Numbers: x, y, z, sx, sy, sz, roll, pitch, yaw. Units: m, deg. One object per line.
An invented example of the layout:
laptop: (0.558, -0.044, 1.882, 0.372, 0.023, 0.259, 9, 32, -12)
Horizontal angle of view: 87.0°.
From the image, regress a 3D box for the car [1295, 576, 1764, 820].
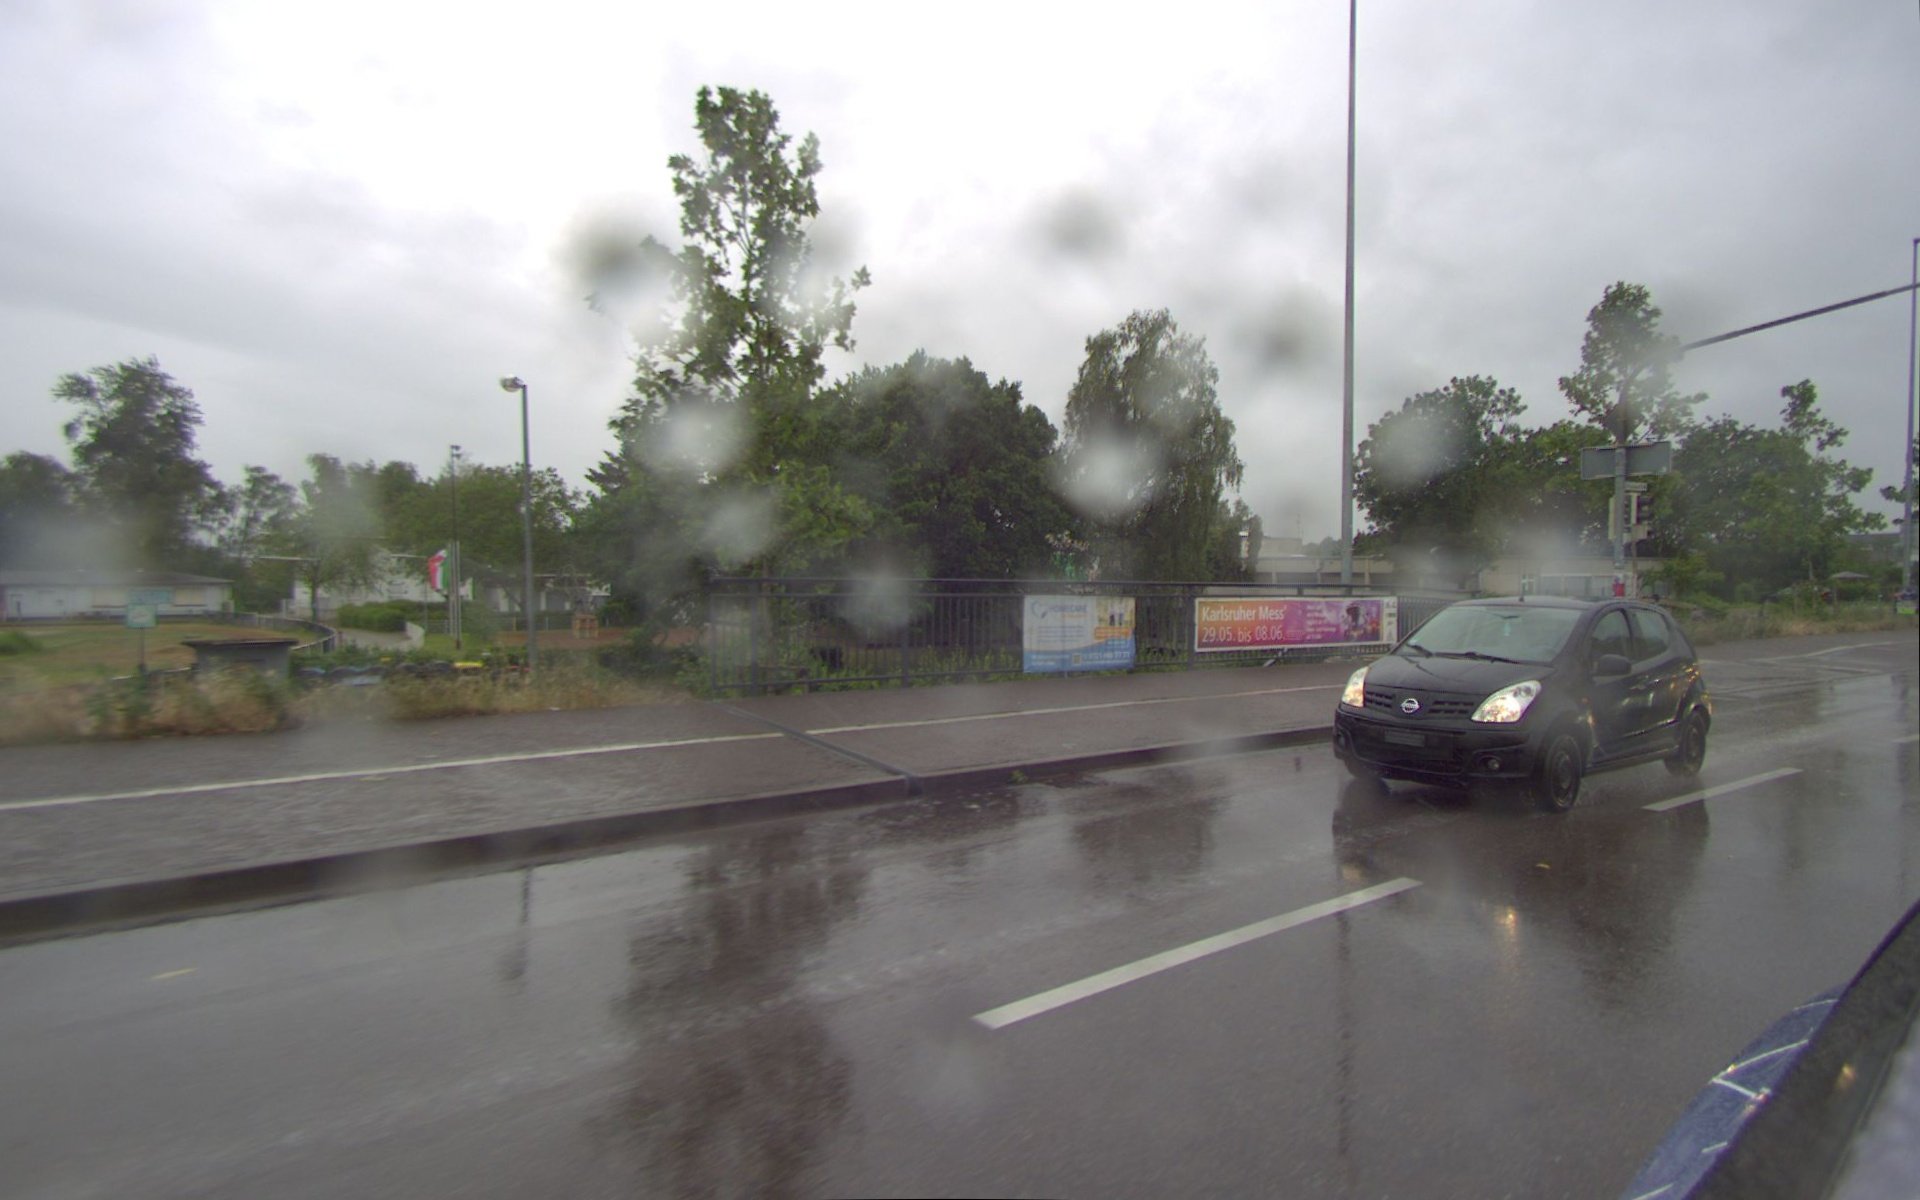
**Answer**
car: (4.650, 0.617, 8.079, 4.015, 1.480, 1.777, 1, -1, -36)

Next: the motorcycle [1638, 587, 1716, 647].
motorcycle: (15.233, 0.354, 21.502, 1.417, 1.233, 0.635, 1, 2, -21)
